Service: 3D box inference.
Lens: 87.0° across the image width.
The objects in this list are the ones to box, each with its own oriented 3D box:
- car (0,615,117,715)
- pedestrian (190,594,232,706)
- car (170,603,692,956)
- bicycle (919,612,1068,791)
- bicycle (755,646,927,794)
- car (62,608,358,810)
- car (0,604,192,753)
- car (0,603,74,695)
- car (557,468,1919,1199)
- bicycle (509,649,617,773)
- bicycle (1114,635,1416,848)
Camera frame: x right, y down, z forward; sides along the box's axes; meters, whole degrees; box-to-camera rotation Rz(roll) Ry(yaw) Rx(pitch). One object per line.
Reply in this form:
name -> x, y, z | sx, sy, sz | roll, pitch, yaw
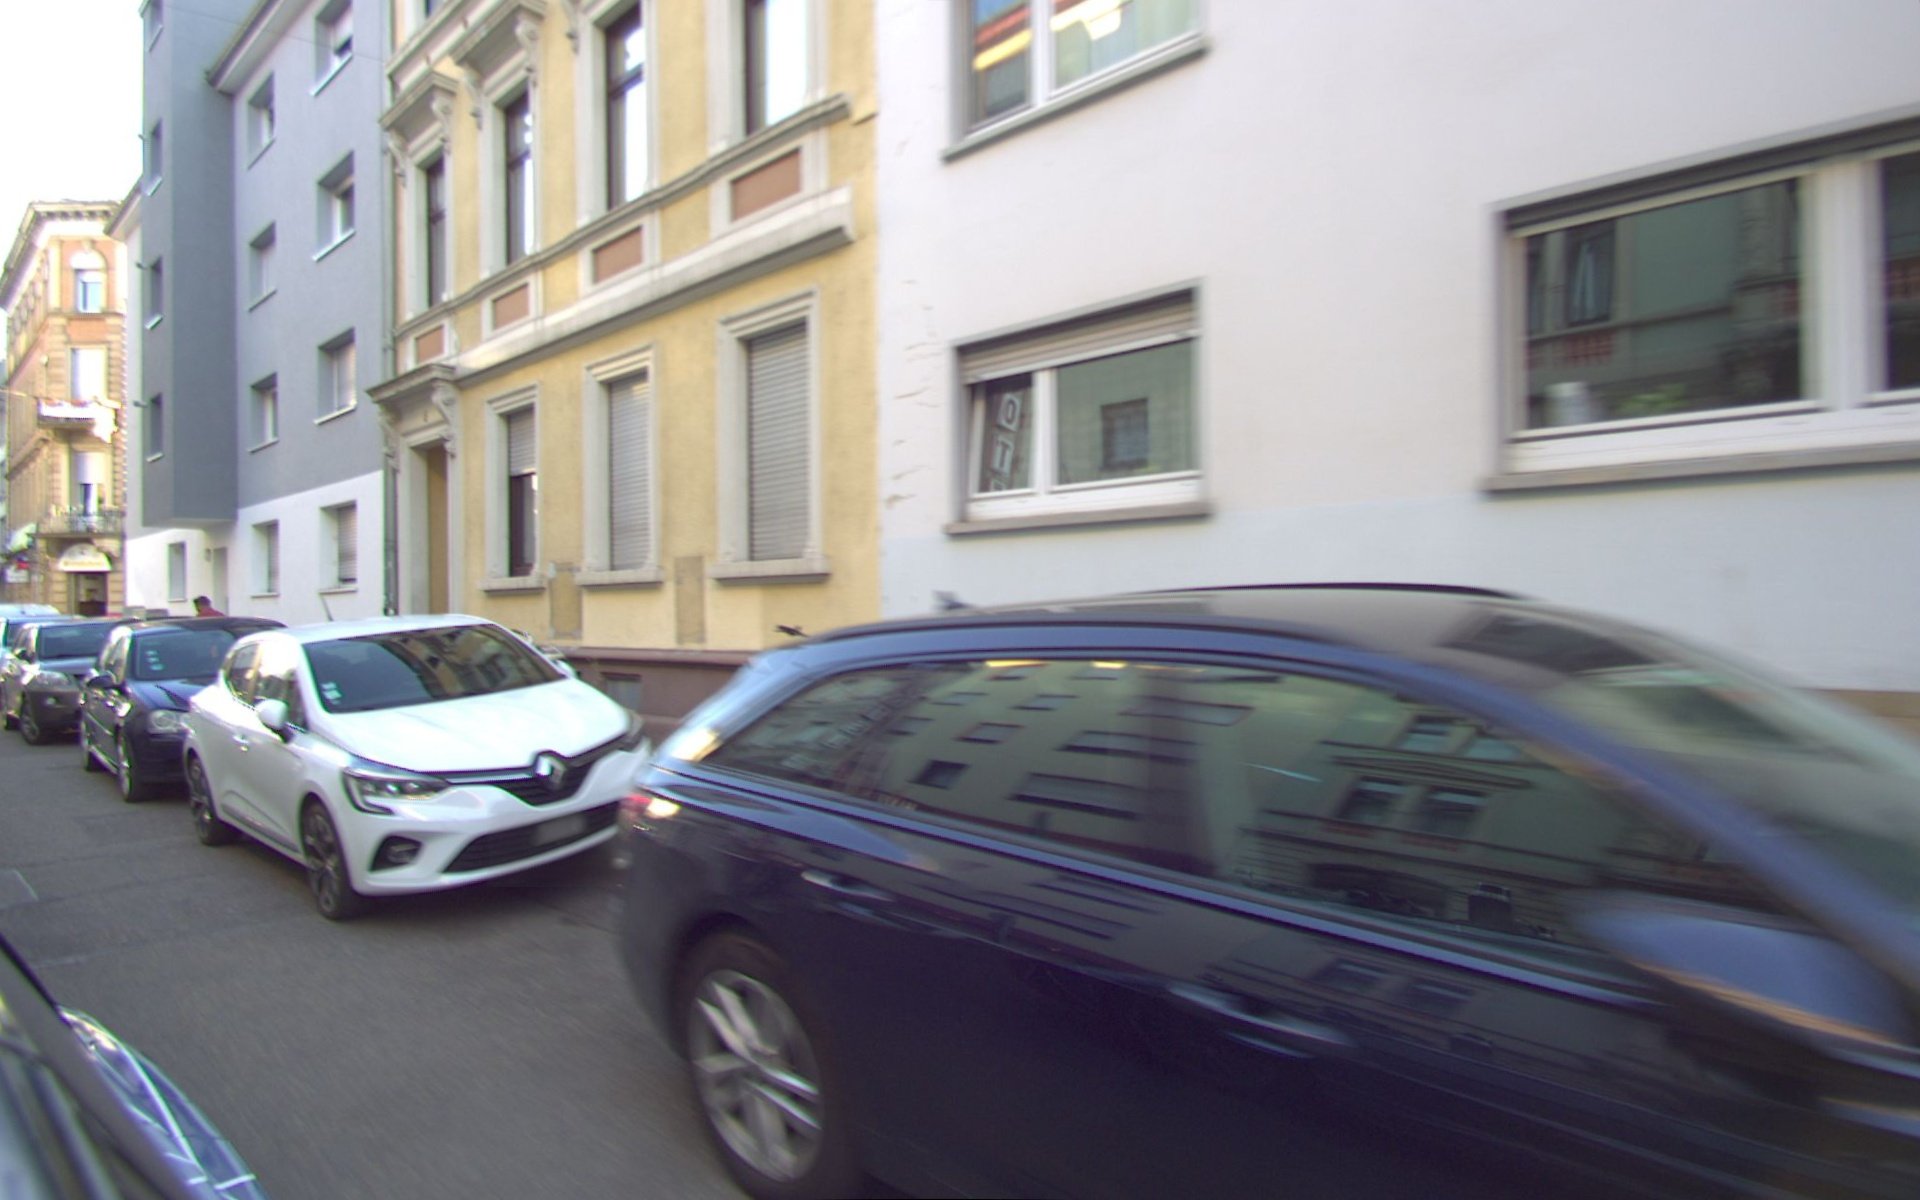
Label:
car -> -16.520, 1.095, 18.073 | 3.780, 1.592, 1.621 | -2, -1, 40
pedestrian -> -12.098, 0.793, 16.338 | 0.455, 1.769, 0.450 | -2, -1, 40
car -> -3.417, 0.805, 6.203 | 3.787, 1.500, 1.621 | -2, -1, 42
bicycle -> 0.169, 0.594, 6.551 | 0.287, 1.016, 1.549 | 0, -1, -25
bicycle -> -0.936, 0.866, 7.682 | 1.542, 1.016, 0.289 | -2, -1, 39
car -> -7.223, 0.866, 9.590 | 3.955, 1.500, 1.620 | -2, -1, 44
car -> -11.810, 0.950, 13.574 | 3.780, 1.724, 1.621 | -2, -1, 40
car -> -20.269, 1.009, 21.610 | 3.782, 1.810, 1.620 | -2, -1, 42
car -> 1.071, 0.653, 2.145 | 4.493, 1.551, 1.772 | -2, -1, 42
bicycle -> -3.985, 1.069, 10.110 | 1.544, 1.123, 0.377 | -2, -1, 43
bicycle -> 1.594, 0.701, 5.463 | 1.541, 1.016, 0.289 | -1, -1, 37
